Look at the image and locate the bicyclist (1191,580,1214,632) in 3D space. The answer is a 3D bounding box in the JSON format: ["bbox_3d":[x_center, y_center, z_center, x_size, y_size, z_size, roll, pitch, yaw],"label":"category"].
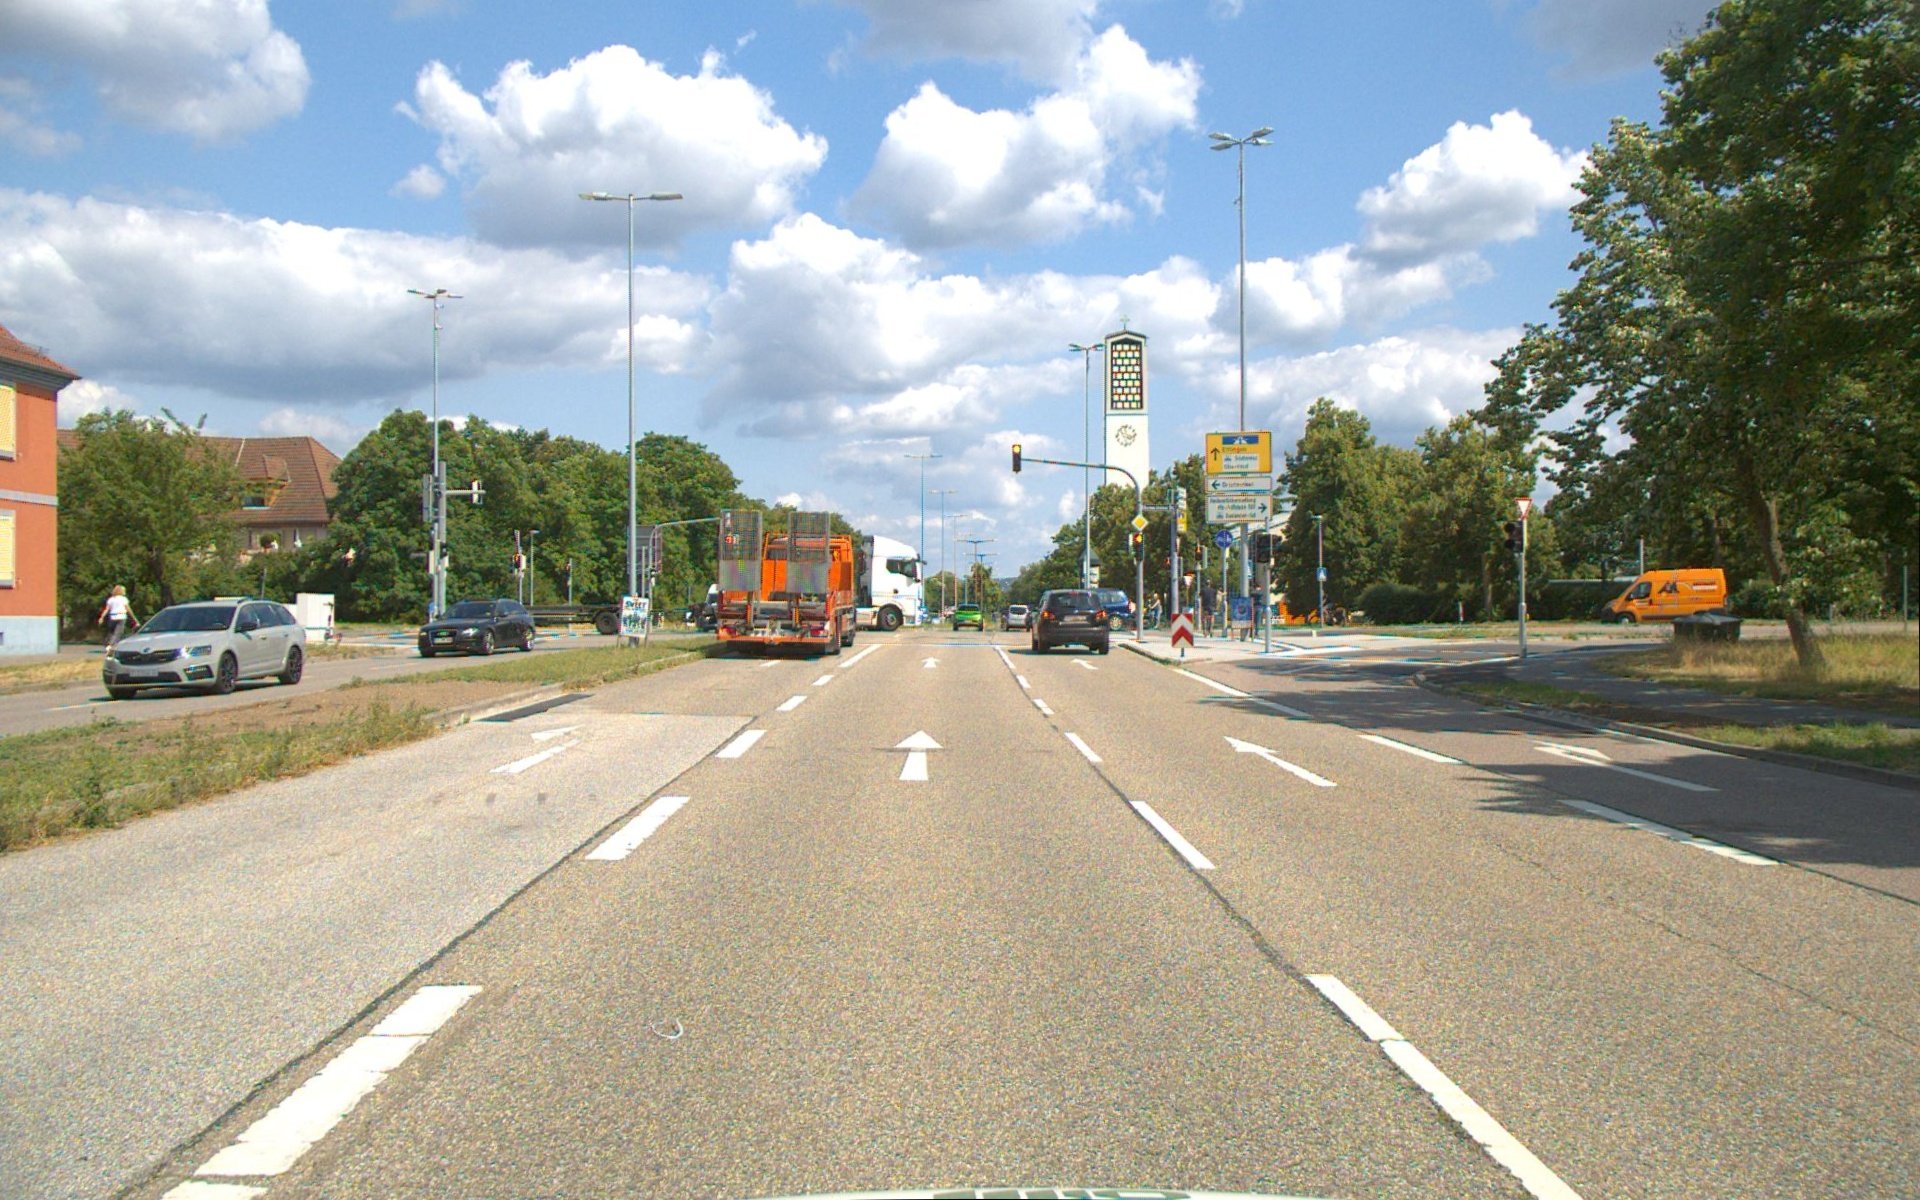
[{"bbox_3d":[7.961,0.207,54.219,0.634,1.690,0.650,1,-1,14],"label":"bicyclist"}]

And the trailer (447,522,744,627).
[{"bbox_3d":[-14.499,-1.020,66.426,11.046,4.082,3.633,0,0,2],"label":"trailer"}]

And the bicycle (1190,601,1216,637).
[{"bbox_3d":[7.996,0.630,54.400,0.634,1.127,1.929,1,-1,14],"label":"bicycle"}]

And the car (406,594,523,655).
[{"bbox_3d":[-12.841,0.622,43.154,1.736,1.463,4.574,-1,-1,-1],"label":"car"}]

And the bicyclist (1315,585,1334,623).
[{"bbox_3d":[18.070,0.203,82.021,0.771,1.836,0.685,0,-1,27],"label":"bicyclist"}]

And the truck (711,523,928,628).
[{"bbox_3d":[-5.790,-0.949,68.105,8.474,4.040,2.954,1,-1,-18],"label":"truck"}]

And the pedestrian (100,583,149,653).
[{"bbox_3d":[-19.835,0.425,39.299,0.682,1.611,0.851,2,-1,-1],"label":"pedestrian"}]

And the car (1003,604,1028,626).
[{"bbox_3d":[4.083,1.134,122.774,1.624,1.582,3.999,2,-1,-1],"label":"car"}]

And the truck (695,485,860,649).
[{"bbox_3d":[-4.277,-0.634,41.302,3.008,3.474,11.064,2,-1,-1],"label":"truck"}]

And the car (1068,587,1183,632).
[{"bbox_3d":[6.501,0.382,65.178,4.123,1.601,1.851,2,-1,-10],"label":"car"}]

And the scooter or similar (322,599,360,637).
[{"bbox_3d":[-19.962,0.593,53.356,0.577,1.184,1.761,2,-1,-2],"label":"scooter or similar"}]

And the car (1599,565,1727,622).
[{"bbox_3d":[29.598,-0.274,69.807,4.742,2.265,2.213,1,-1,17],"label":"car"}]

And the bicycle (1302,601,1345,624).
[{"bbox_3d":[18.025,0.628,82.047,1.958,1.113,0.685,0,-1,27],"label":"bicycle"}]

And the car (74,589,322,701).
[{"bbox_3d":[-12.077,0.686,26.585,1.697,1.534,4.653,-4,-1,1],"label":"car"}]

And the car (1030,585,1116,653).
[{"bbox_3d":[2.813,0.493,41.873,1.763,1.579,3.999,2,-1,-1],"label":"car"}]

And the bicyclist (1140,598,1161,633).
[{"bbox_3d":[9.074,0.734,78.695,0.691,1.644,0.789,0,-1,-30],"label":"bicyclist"}]

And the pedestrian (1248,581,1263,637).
[{"bbox_3d":[9.635,0.293,53.920,0.454,1.810,0.482,1,-1,10],"label":"pedestrian"}]

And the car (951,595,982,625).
[{"bbox_3d":[0.355,0.612,98.914,1.705,1.698,3.589,2,-1,-1],"label":"car"}]

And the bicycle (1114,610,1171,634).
[{"bbox_3d":[8.665,1.020,78.452,2.804,1.131,0.789,0,0,-31],"label":"bicycle"}]
